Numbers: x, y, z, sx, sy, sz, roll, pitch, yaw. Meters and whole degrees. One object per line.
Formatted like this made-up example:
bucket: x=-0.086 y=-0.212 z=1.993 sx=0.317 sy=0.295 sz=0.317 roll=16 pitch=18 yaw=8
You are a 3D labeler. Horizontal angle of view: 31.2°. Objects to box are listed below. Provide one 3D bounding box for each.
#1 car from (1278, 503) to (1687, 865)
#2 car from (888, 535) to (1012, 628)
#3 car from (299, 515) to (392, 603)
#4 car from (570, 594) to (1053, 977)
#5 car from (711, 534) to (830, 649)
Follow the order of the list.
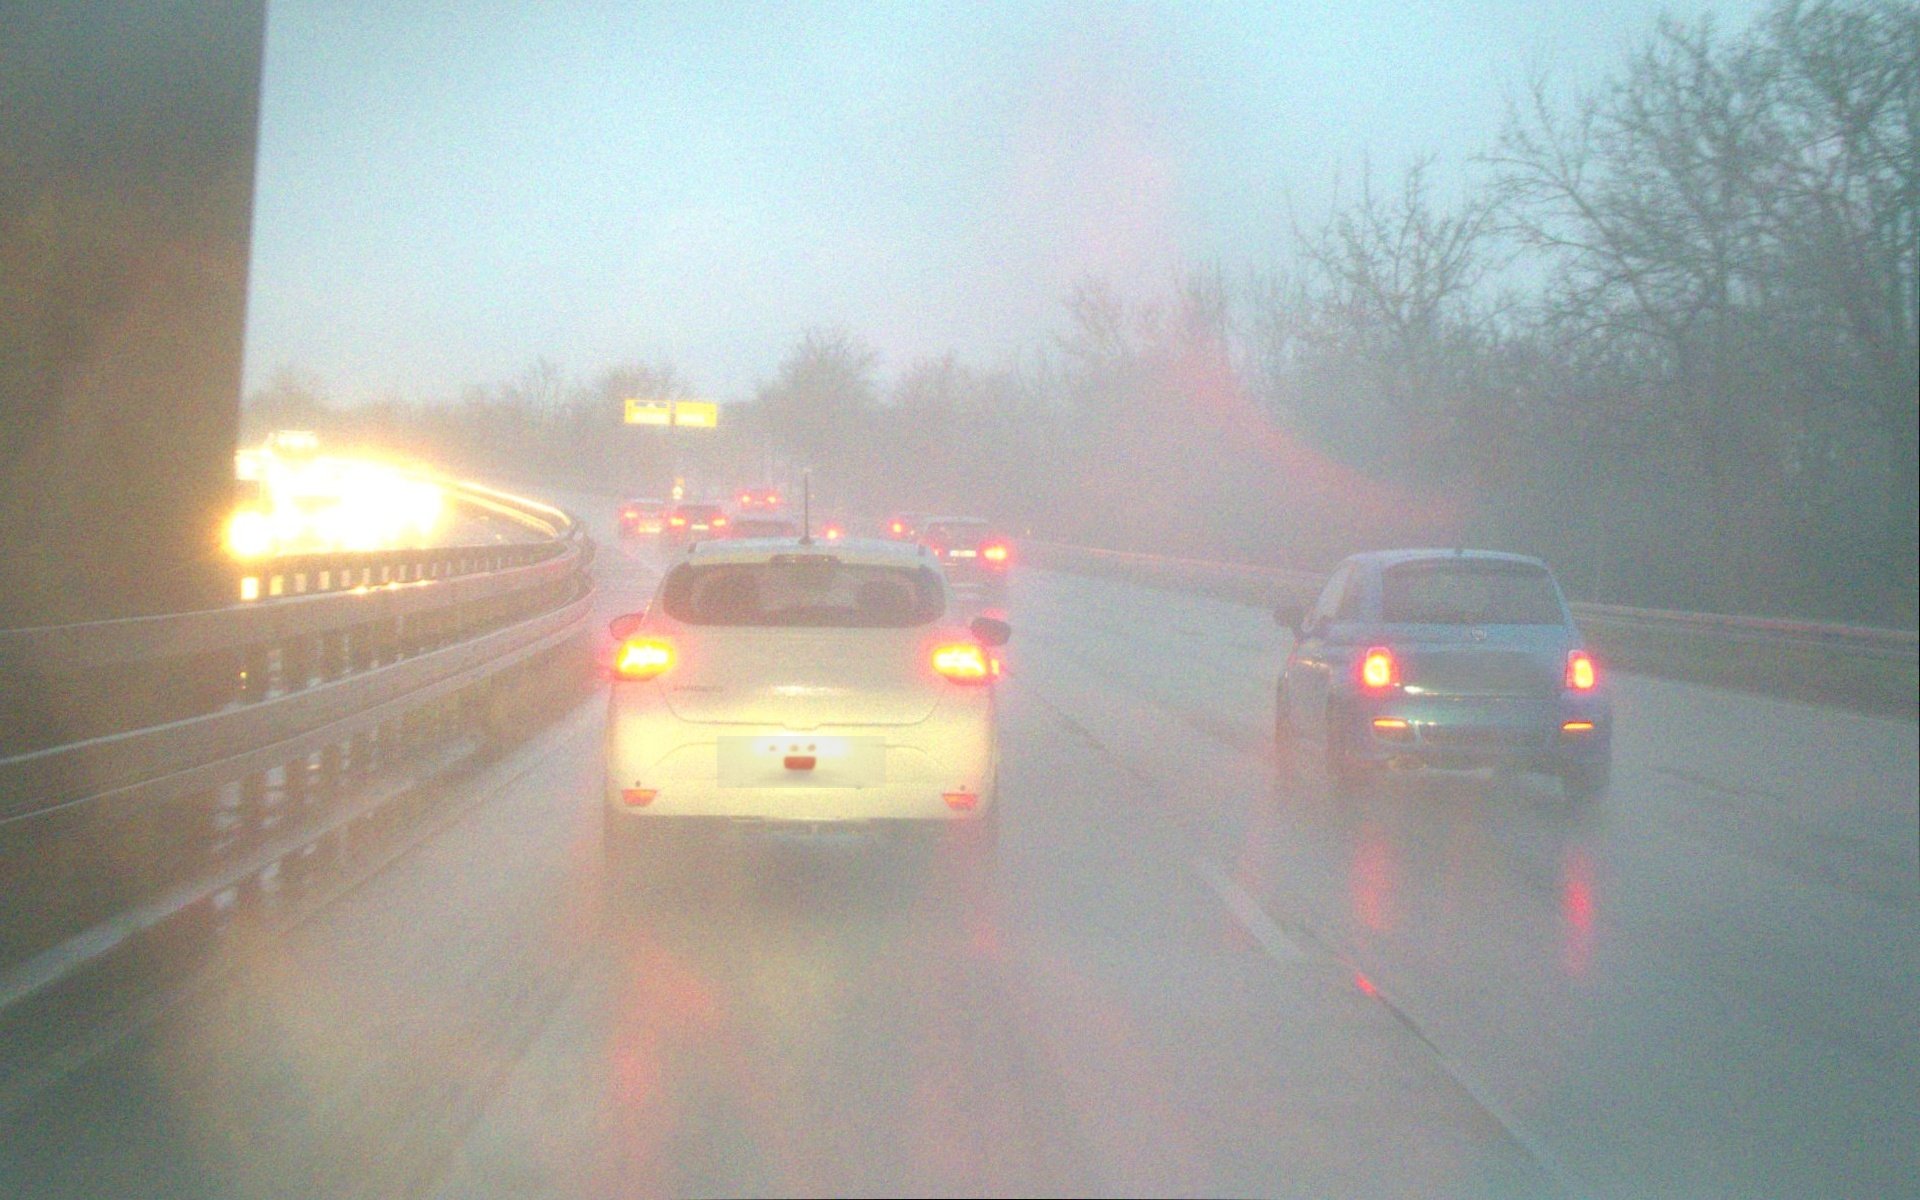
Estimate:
car: x=3.200 y=0.492 z=21.786 sx=1.932 sy=2.012 sz=3.773 roll=2 pitch=0 yaw=0
car: x=-0.231 y=-0.337 z=66.558 sx=1.932 sy=1.541 sz=3.773 roll=-3 pitch=-2 yaw=-6
car: x=-18.323 y=-1.204 z=102.726 sx=2.145 sy=2.460 sz=5.142 roll=3 pitch=0 yaw=-5
car: x=-0.648 y=0.809 z=16.885 sx=2.025 sy=1.569 sz=4.000 roll=2 pitch=0 yaw=0
car: x=-3.603 y=-0.153 z=64.862 sx=1.993 sy=2.007 sz=4.001 roll=3 pitch=0 yaw=-6
